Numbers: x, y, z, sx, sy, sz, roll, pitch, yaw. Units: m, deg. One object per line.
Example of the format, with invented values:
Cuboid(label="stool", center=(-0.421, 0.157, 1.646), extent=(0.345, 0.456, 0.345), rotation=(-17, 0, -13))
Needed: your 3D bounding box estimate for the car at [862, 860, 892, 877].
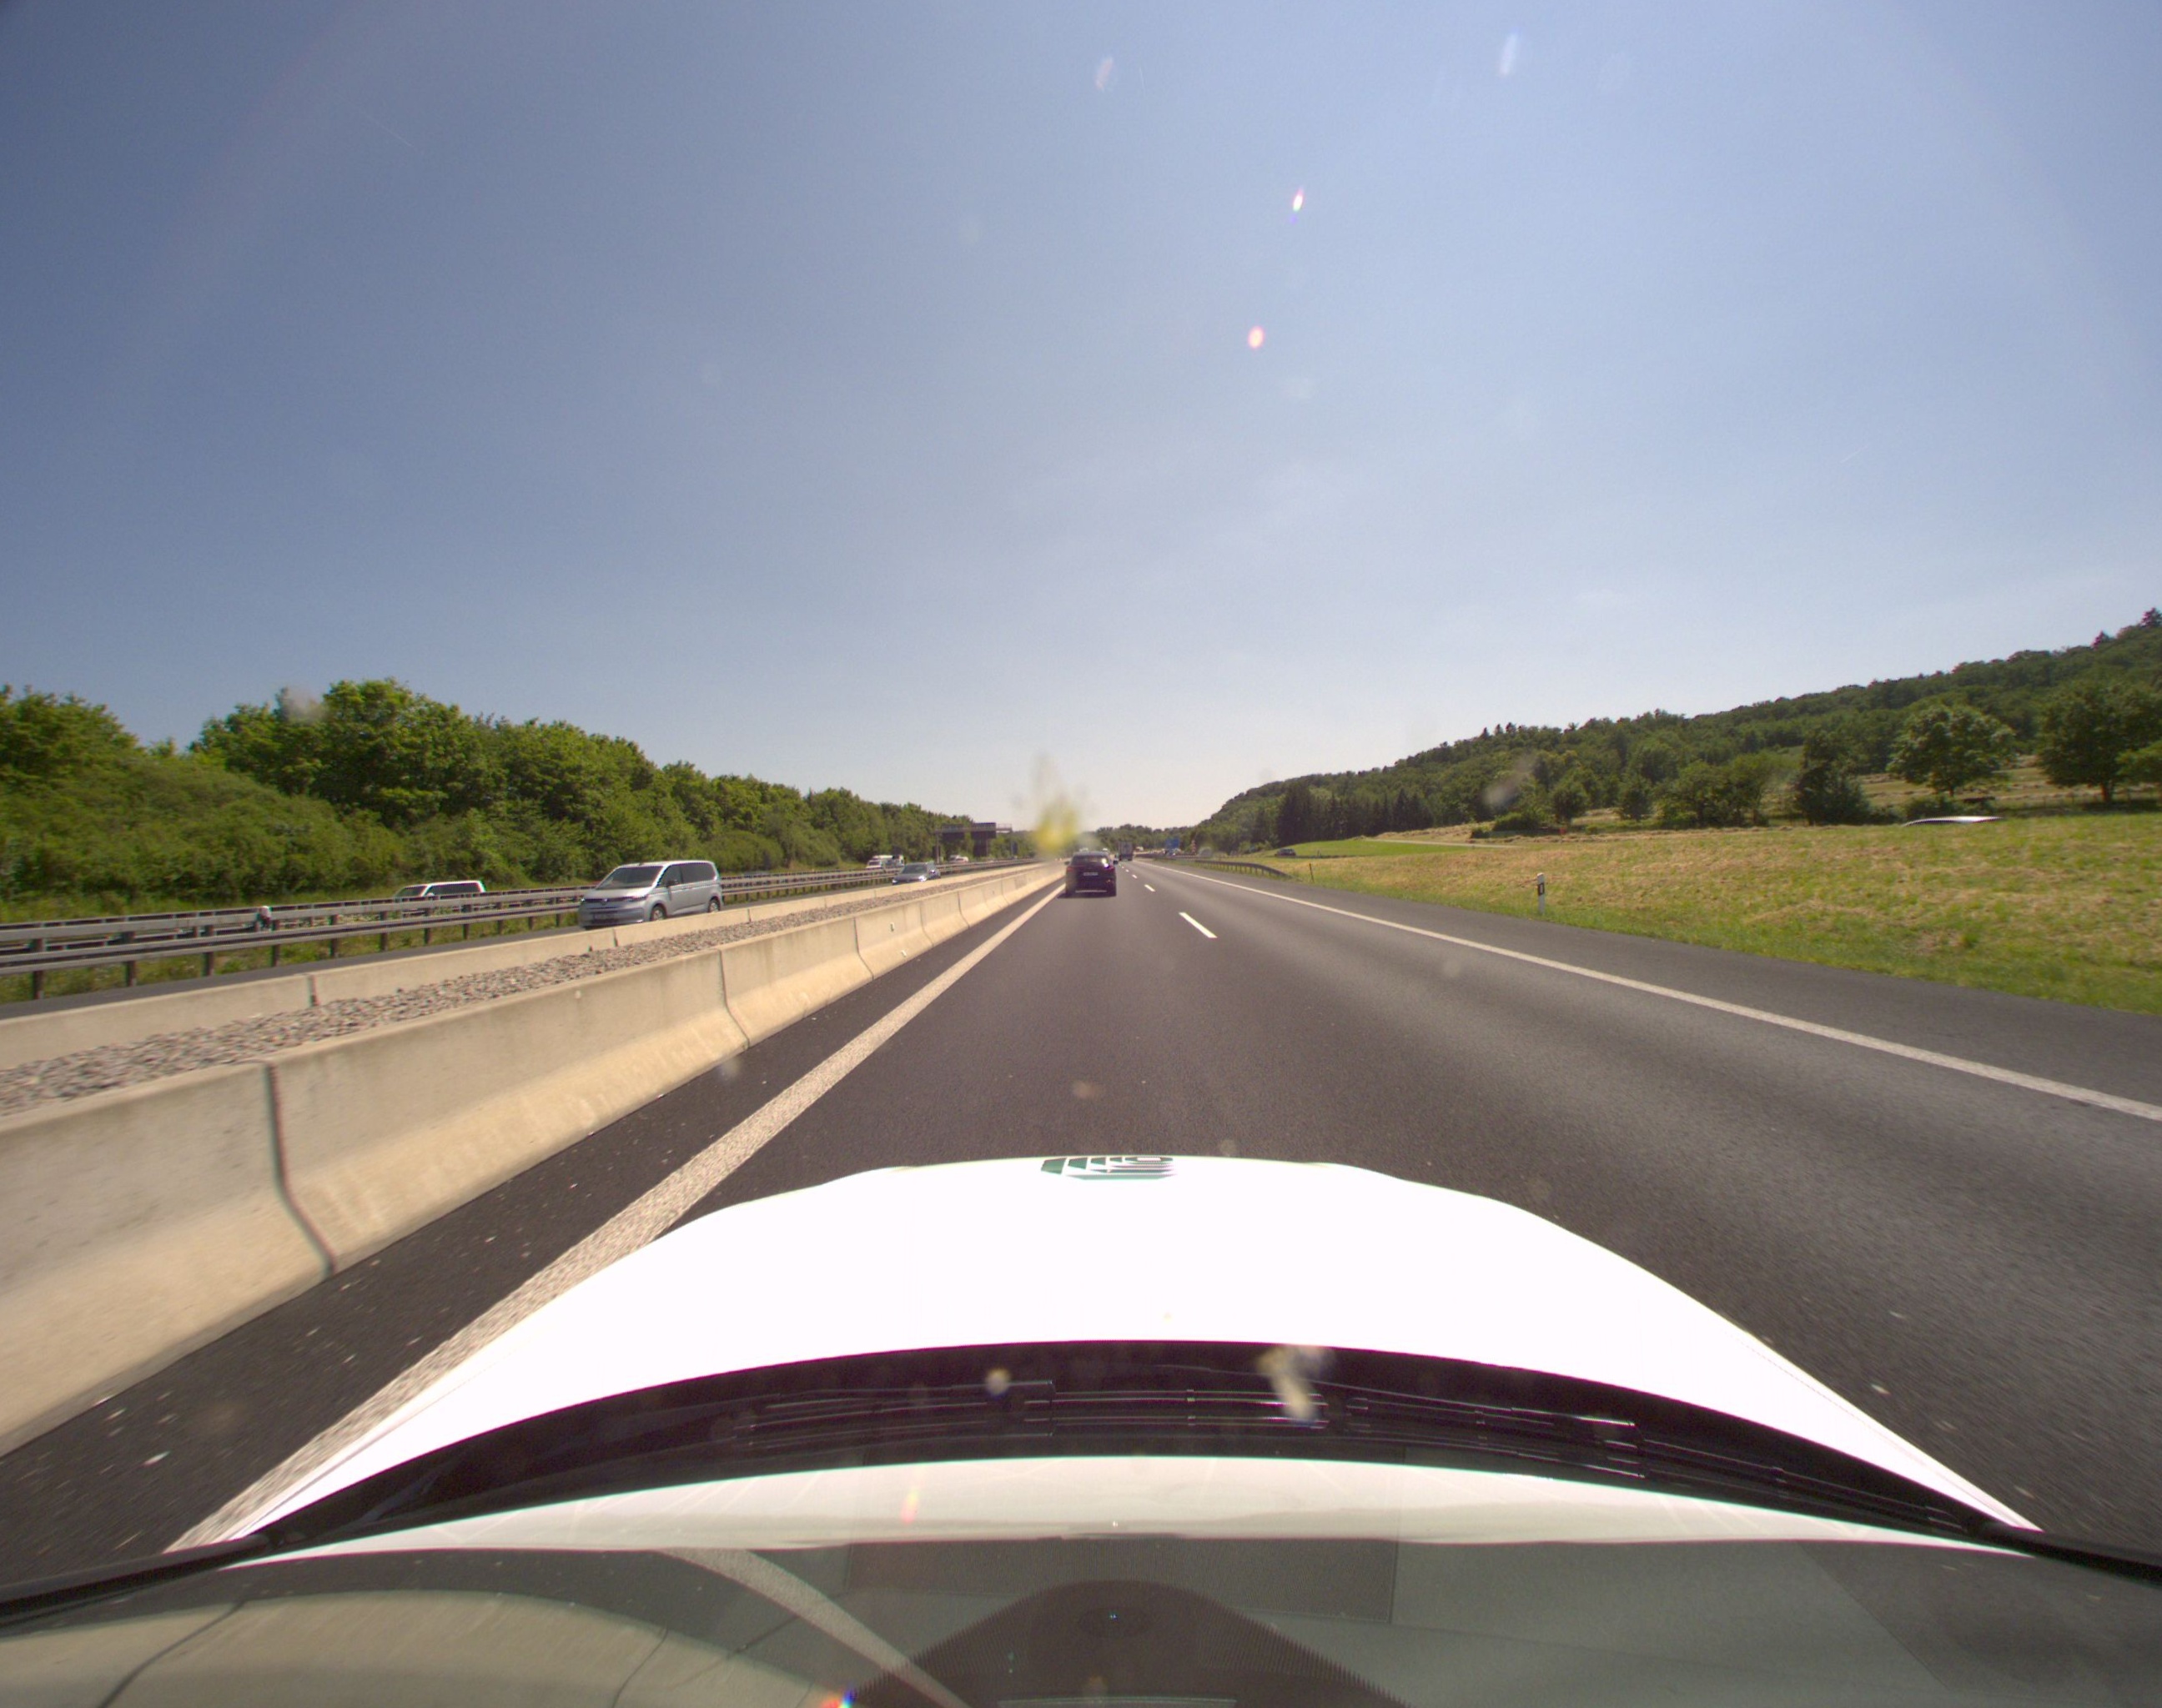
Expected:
Cuboid(label="car", center=(-24.429, 1.743, 97.625), extent=(1.985, 1.806, 4.820), rotation=(-3, 0, 3))

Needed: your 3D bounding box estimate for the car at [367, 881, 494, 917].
Cuboid(label="car", center=(-32.808, 2.212, 41.317), extent=(1.982, 1.577, 5.003), rotation=(0, -1, 8))

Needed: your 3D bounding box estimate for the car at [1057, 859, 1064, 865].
Cuboid(label="car", center=(-5.580, 2.092, 219.599), extent=(1.829, 1.534, 4.157), rotation=(0, -1, -1))

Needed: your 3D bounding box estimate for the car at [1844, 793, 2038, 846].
Cuboid(label="car", center=(30.459, -1.160, 29.080), extent=(1.992, 1.662, 4.456), rotation=(0, -1, -7))

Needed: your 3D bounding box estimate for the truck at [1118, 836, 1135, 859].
Cuboid(label="truck", center=(9.209, -1.267, 165.750), extent=(3.021, 4.418, 12.021), rotation=(0, -1, 1))

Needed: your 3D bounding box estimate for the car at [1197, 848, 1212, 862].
Cuboid(label="car", center=(20.496, 0.169, 135.145), extent=(1.986, 2.013, 4.002), rotation=(-4, -1, 2))

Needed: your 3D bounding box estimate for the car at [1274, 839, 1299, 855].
Cuboid(label="car", center=(28.016, -0.883, 111.295), extent=(1.990, 2.013, 3.993), rotation=(-3, 0, -5))

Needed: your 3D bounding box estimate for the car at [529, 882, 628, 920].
Cuboid(label="car", center=(-23.270, 2.155, 37.908), extent=(1.985, 1.577, 4.003), rotation=(0, -1, 3))

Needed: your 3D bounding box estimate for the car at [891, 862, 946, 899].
Cuboid(label="car", center=(-8.012, 1.271, 40.485), extent=(1.788, 1.595, 4.307), rotation=(-2, 0, 0))

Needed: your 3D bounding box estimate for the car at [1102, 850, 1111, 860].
Cuboid(label="car", center=(6.153, 0.283, 194.206), extent=(2.129, 2.216, 5.091), rotation=(0, -1, 3))

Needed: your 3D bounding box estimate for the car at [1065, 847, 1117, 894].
Cuboid(label="car", center=(0.309, 0.588, 29.986), extent=(1.774, 1.577, 3.998), rotation=(0, -1, -1))

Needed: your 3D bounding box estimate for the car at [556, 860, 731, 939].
Cuboid(label="car", center=(-12.292, 1.192, 23.383), extent=(1.986, 1.842, 5.087), rotation=(-4, 0, 2))

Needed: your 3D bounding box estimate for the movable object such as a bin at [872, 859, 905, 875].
Cuboid(label="movable object such as a bin", center=(-24.329, 1.632, 103.268), extent=(2.498, 2.014, 6.780), rotation=(0, -1, 1))

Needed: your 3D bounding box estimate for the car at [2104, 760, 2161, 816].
Cuboid(label="car", center=(34.112, -2.079, 23.551), extent=(1.987, 1.662, 5.626), rotation=(0, -1, 0))
